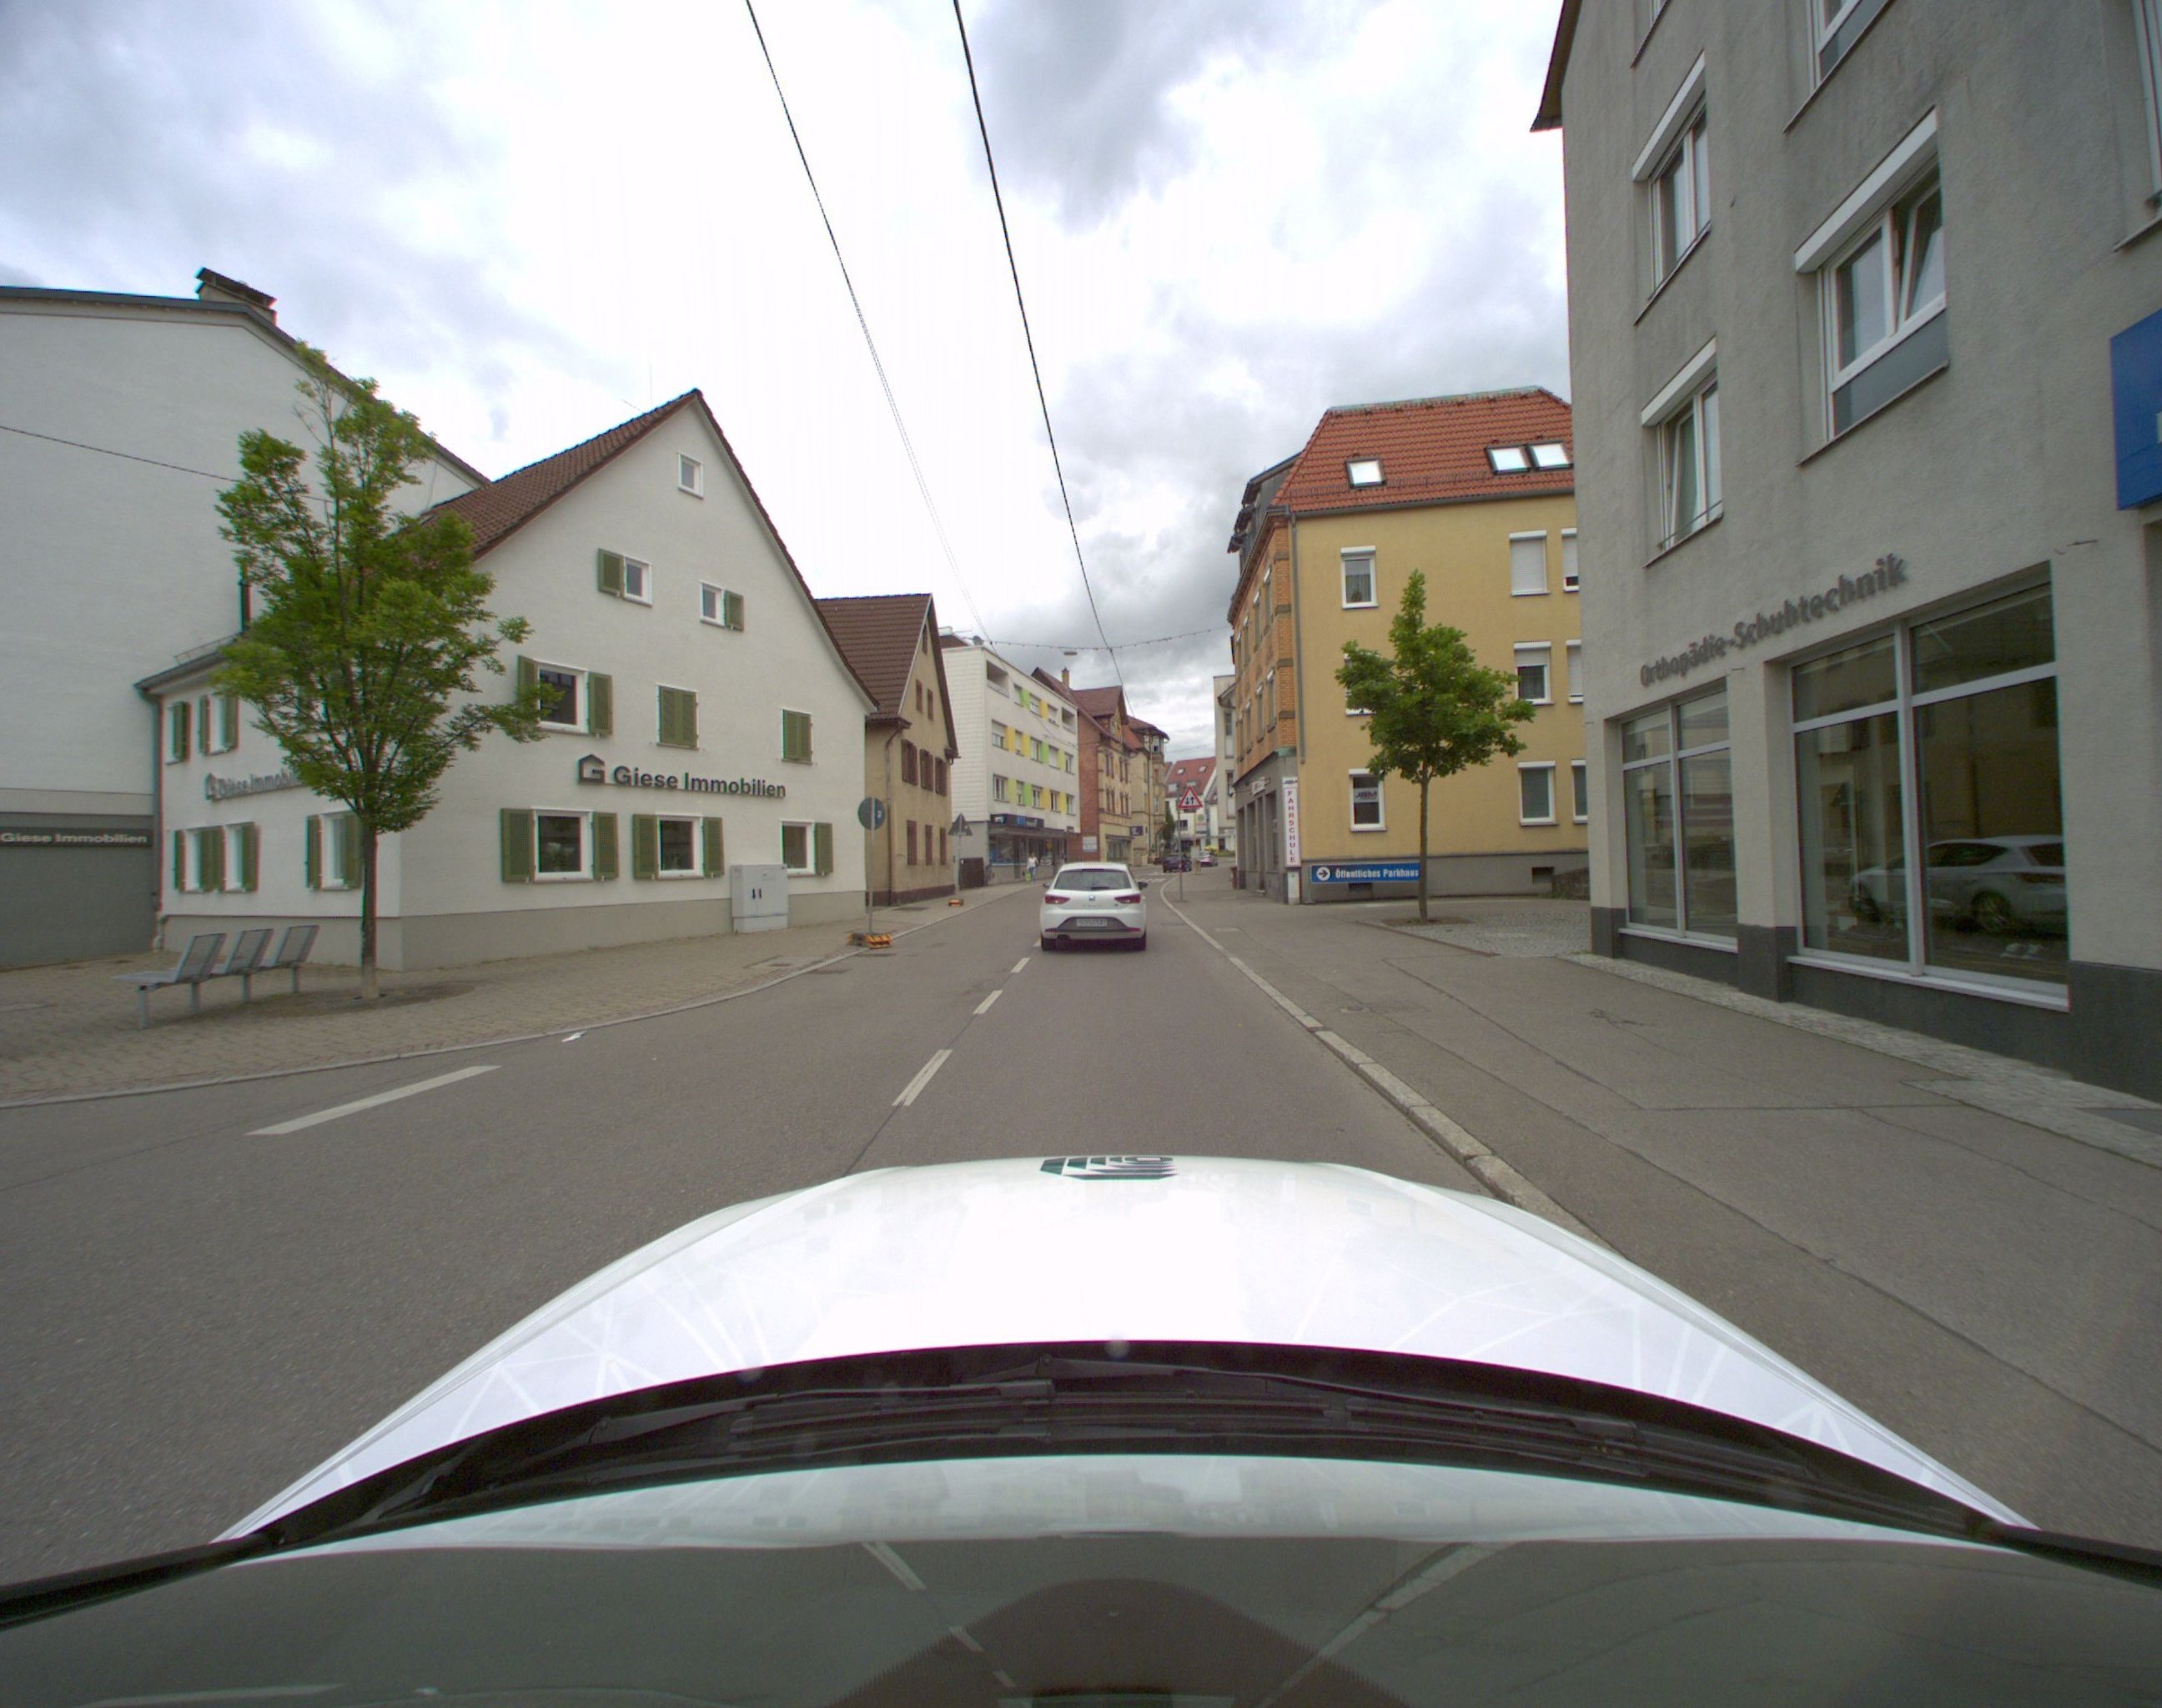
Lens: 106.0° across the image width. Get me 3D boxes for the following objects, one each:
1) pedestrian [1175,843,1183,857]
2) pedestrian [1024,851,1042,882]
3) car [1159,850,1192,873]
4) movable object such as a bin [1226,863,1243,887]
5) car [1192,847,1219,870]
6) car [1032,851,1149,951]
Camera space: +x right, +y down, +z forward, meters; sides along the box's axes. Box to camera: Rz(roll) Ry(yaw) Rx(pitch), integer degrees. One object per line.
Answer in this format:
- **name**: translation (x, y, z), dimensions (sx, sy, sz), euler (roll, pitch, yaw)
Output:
- **pedestrian**: translation (11.016, -0.407, 91.487), dimensions (0.829, 1.552, 0.629), euler (-2, 0, 9)
- **pedestrian**: translation (-2.660, 0.697, 45.370), dimensions (0.889, 1.665, 0.861), euler (-2, 0, 0)
- **car**: translation (7.151, 0.544, 61.071), dimensions (1.798, 1.480, 3.887), euler (-2, 1, 16)
- **movable object such as a bin**: translation (6.259, 0.860, 33.186), dimensions (0.616, 0.921, 0.583), euler (-2, 0, 7)
- **car**: translation (11.593, 0.387, 75.719), dimensions (1.979, 2.013, 4.016), euler (-2, 0, 15)
- **car**: translation (0.303, 0.729, 14.567), dimensions (1.803, 1.480, 3.876), euler (0, 1, 5)
